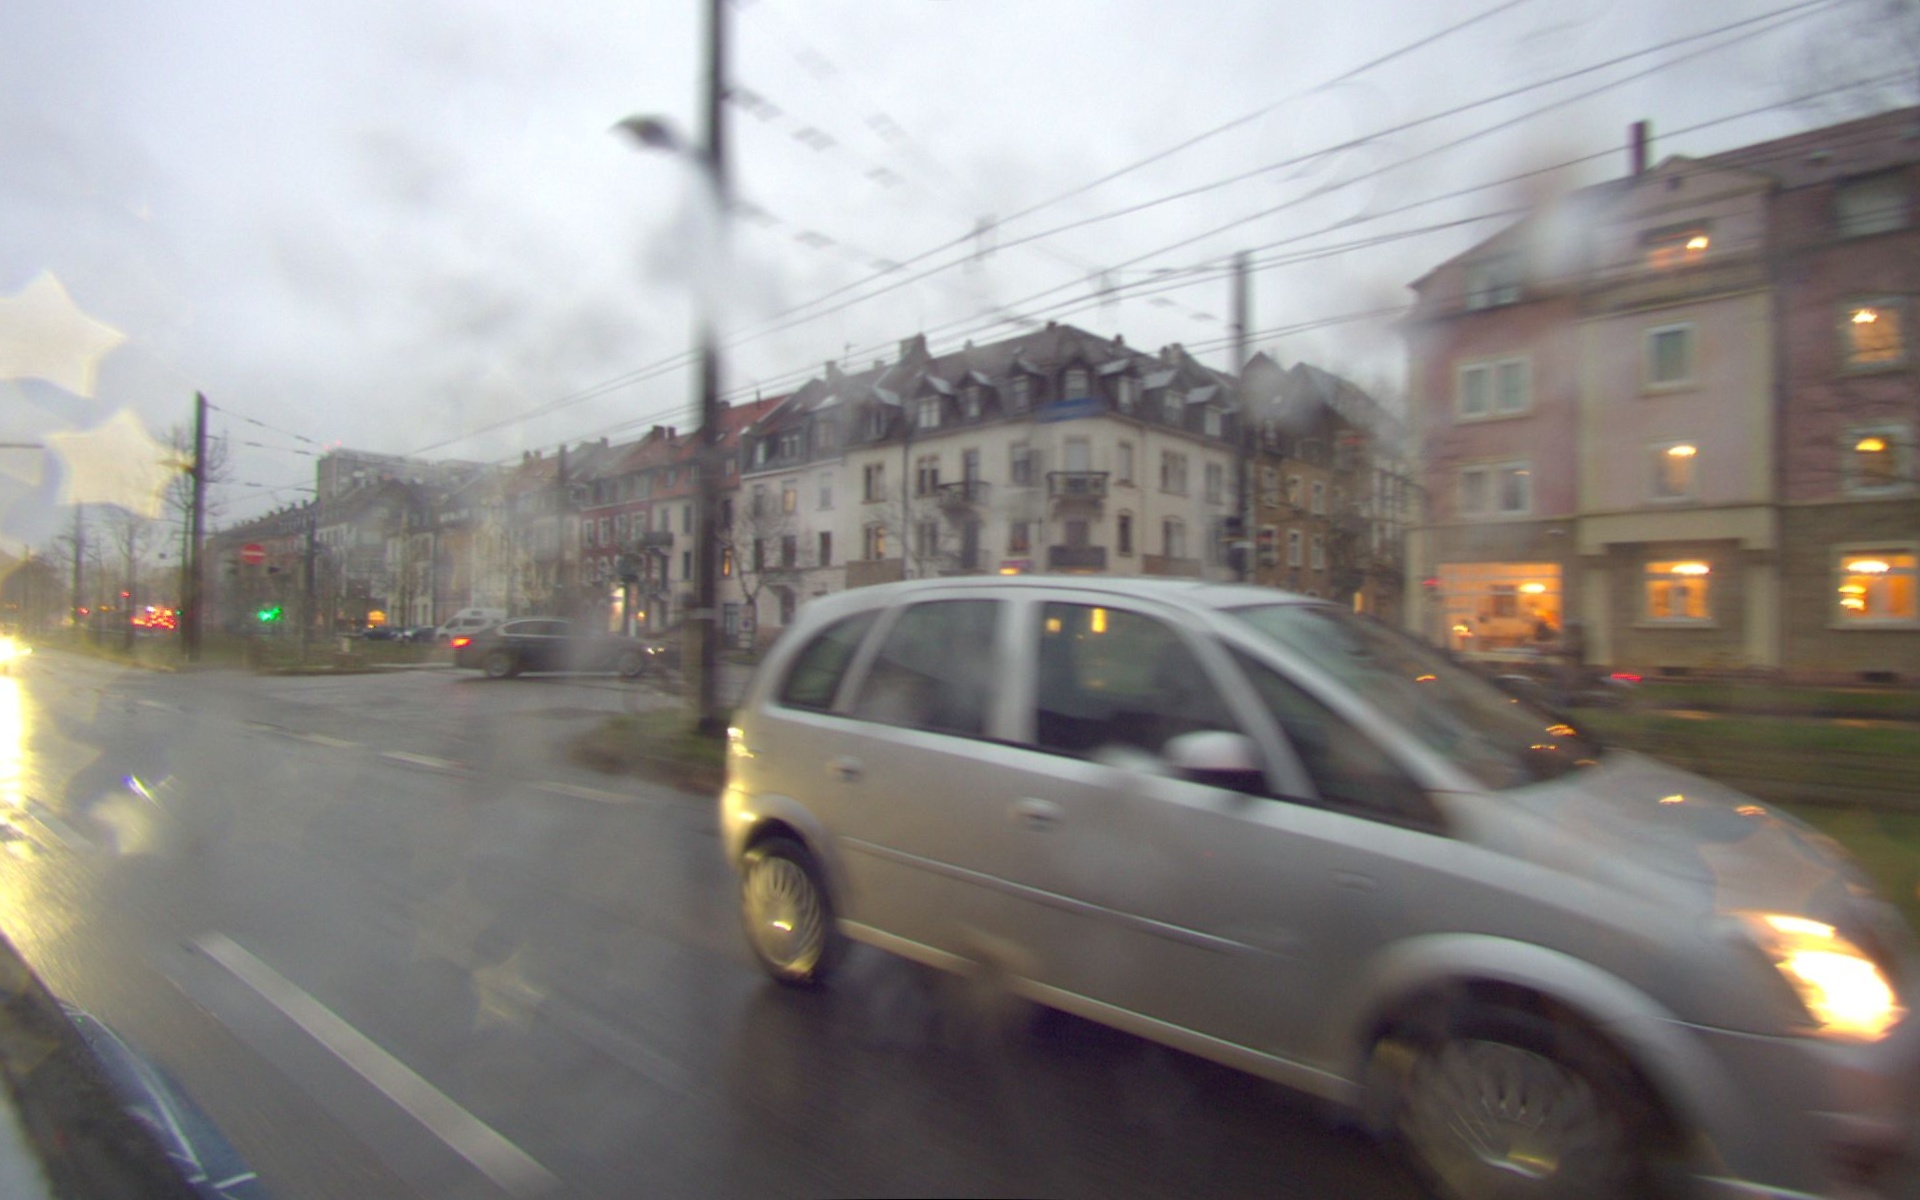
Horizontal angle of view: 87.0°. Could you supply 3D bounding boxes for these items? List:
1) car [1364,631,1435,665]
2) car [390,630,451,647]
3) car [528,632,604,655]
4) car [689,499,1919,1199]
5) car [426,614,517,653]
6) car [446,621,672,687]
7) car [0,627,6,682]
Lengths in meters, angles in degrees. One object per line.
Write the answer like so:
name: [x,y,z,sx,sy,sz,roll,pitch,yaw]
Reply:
car: [19.960,2.138,45.914,1.998,1.431,3.948,-1,-2,39]
car: [-44.416,3.201,83.390,3.935,1.342,2.004,1,-2,-10]
car: [-23.965,2.638,61.725,3.937,1.342,2.003,1,-2,-8]
car: [0.956,0.664,3.583,4.052,1.612,1.790,-1,-1,42]
car: [-36.652,2.504,76.033,5.779,2.819,2.002,1,-2,-4]
car: [-9.445,1.250,24.199,4.748,1.441,1.819,0,-1,-9]
car: [-28.685,1.561,29.049,4.055,1.508,1.788,-1,-1,45]
